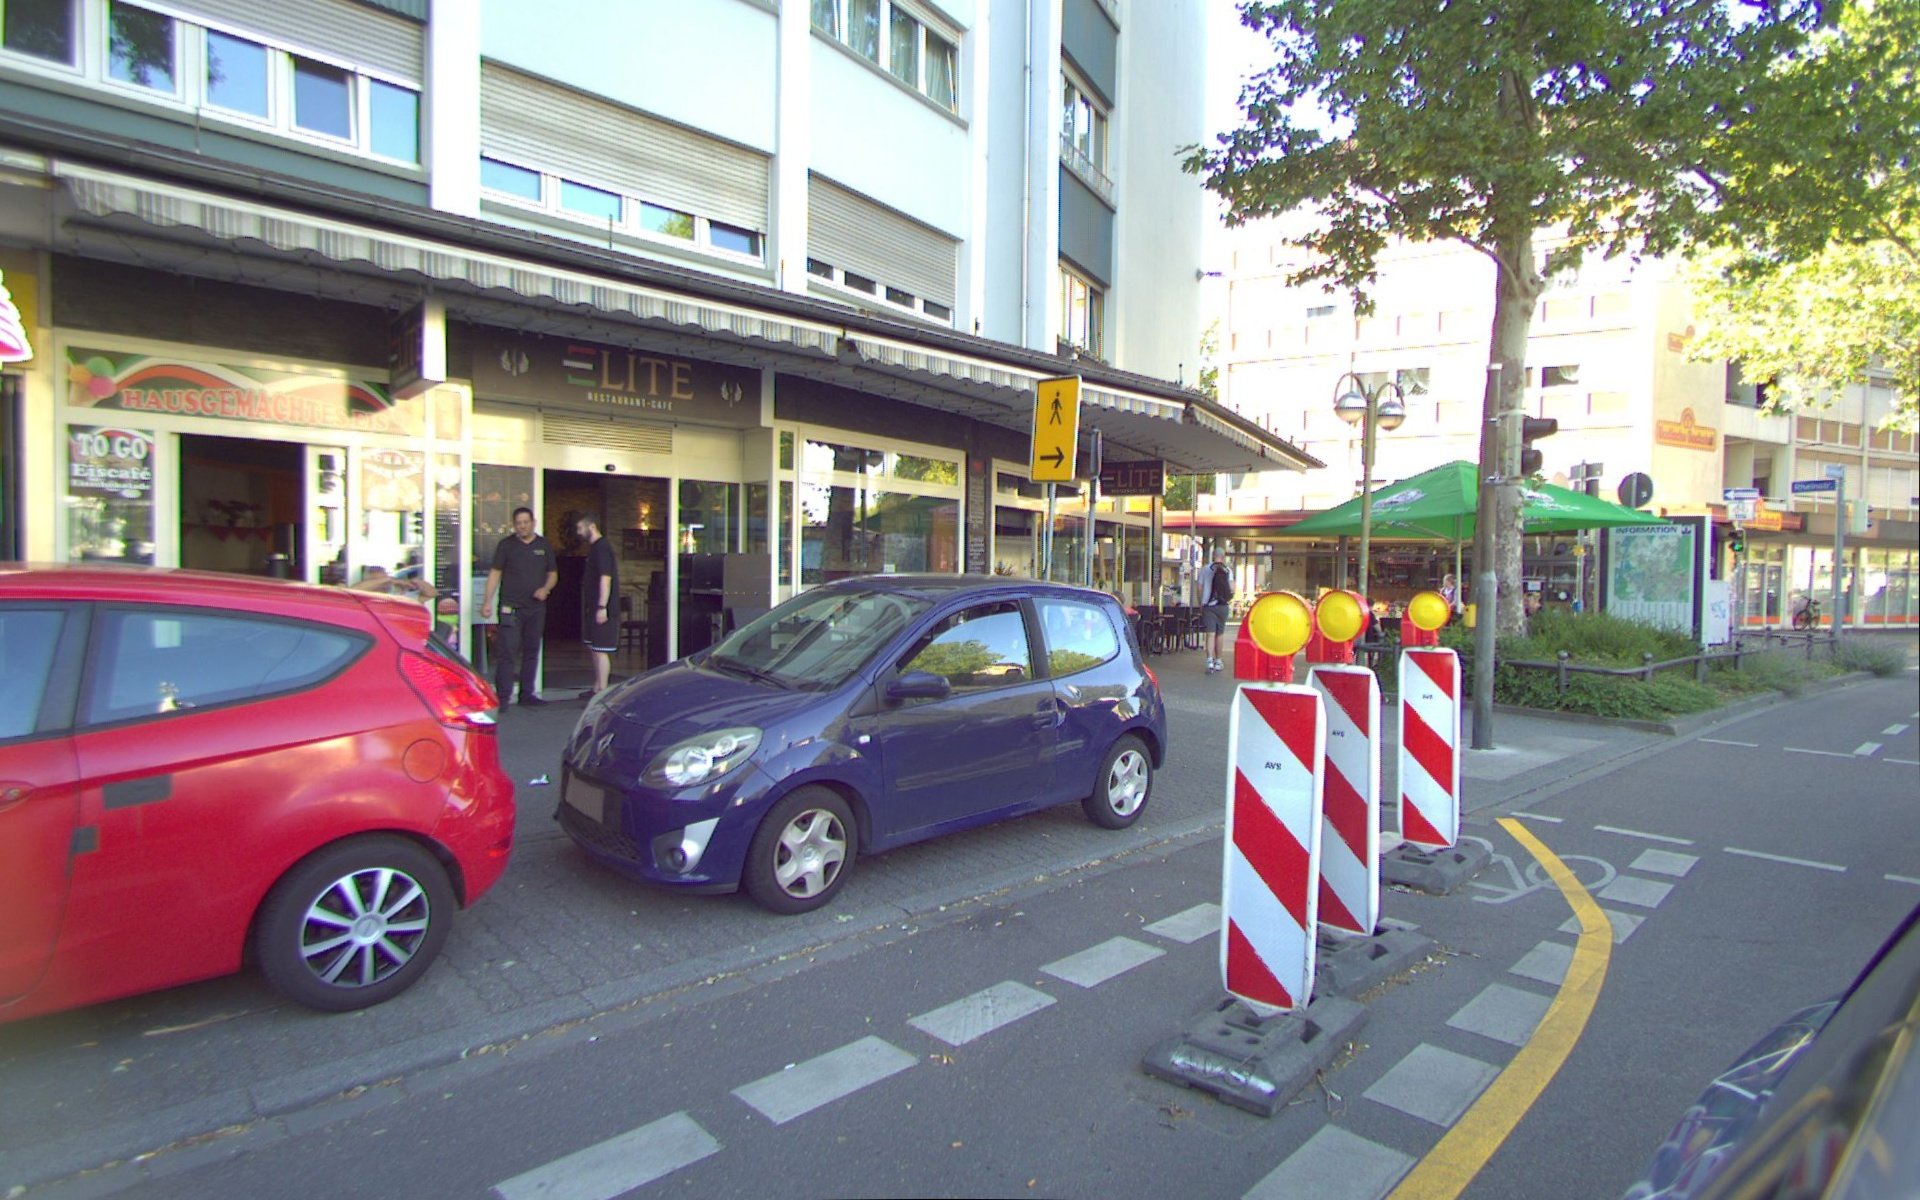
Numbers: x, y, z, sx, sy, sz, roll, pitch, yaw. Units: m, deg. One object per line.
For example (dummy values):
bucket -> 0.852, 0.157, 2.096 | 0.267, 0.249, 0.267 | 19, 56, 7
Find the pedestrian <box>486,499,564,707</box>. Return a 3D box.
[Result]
pedestrian -> -3.899, 0.008, 9.071 | 0.547, 1.800, 0.395 | -1, 4, -43

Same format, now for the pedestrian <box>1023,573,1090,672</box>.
pedestrian -> 1.332, 0.290, 14.040 | 0.685, 1.323, 0.793 | 1, 1, -13

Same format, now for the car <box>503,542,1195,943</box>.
car -> -0.446, 0.505, 5.775 | 3.551, 1.485, 1.769 | -1, 5, -44

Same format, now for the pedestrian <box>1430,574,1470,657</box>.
pedestrian -> 9.968, 0.306, 20.593 | 0.624, 1.657, 0.525 | 2, 1, 34

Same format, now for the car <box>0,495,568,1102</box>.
car -> -3.423, 0.475, 3.065 | 3.761, 1.614, 1.784 | -1, 5, -45

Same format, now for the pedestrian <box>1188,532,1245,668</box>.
pedestrian -> 3.880, -0.016, 15.280 | 0.642, 1.983, 0.882 | 1, 1, 26

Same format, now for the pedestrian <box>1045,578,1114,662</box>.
pedestrian -> 1.781, 0.287, 15.144 | 0.776, 1.207, 0.648 | 0, 1, -34

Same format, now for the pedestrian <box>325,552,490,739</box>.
pedestrian -> -4.387, 0.307, 8.020 | 0.937, 1.352, 1.069 | 0, 2, -42

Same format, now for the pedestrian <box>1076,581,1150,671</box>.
pedestrian -> 2.148, 0.352, 14.294 | 0.685, 1.207, 0.881 | 0, 1, -18

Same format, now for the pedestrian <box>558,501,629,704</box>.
pedestrian -> -3.317, 0.016, 9.187 | 0.545, 1.803, 0.397 | 1, 3, -11
